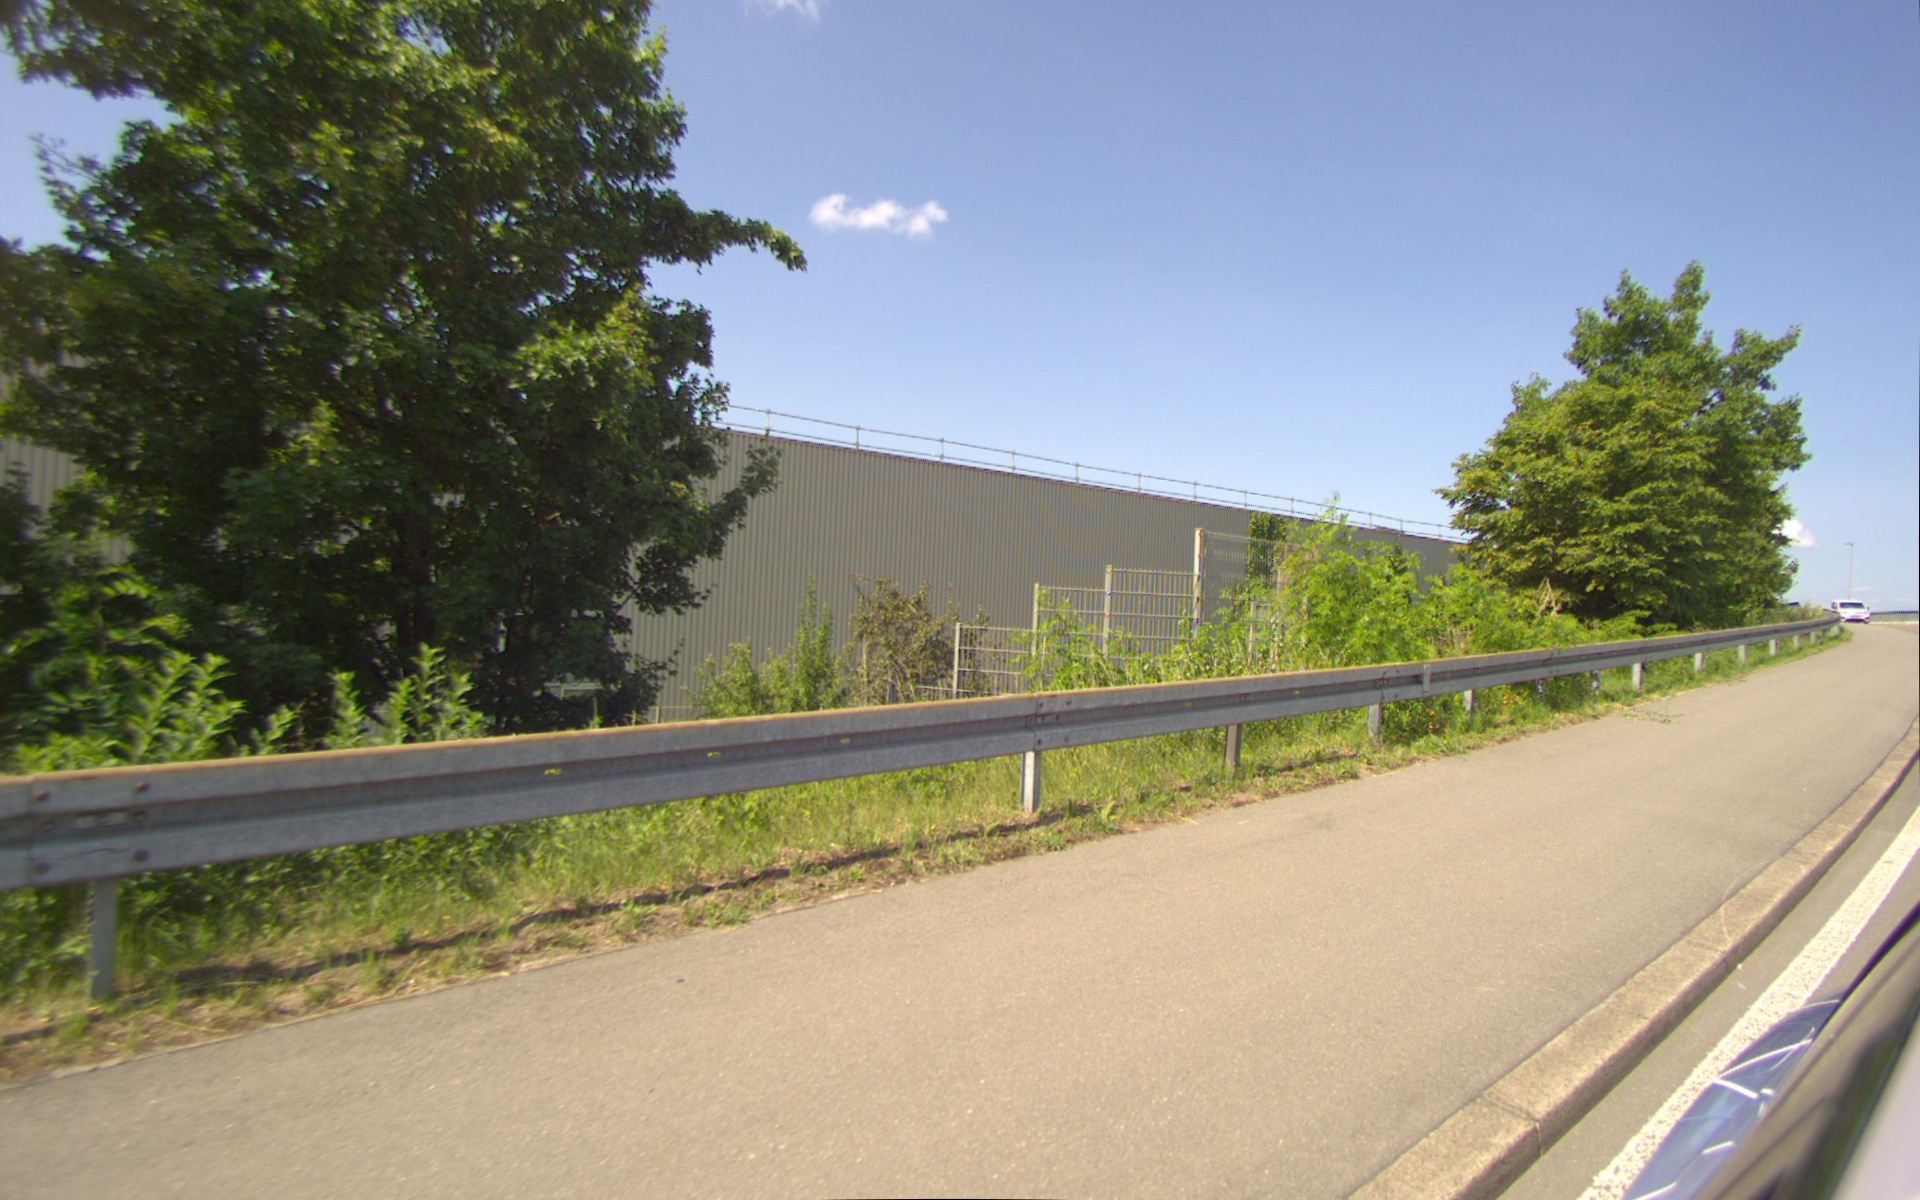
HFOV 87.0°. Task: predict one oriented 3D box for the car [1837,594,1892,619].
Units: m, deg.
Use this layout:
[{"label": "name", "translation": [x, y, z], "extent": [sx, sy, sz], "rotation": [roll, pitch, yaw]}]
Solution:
[{"label": "car", "translation": [67.188, 0.525, 75.257], "extent": [2.076, 1.784, 4.237], "rotation": [-1, -2, 29]}]
